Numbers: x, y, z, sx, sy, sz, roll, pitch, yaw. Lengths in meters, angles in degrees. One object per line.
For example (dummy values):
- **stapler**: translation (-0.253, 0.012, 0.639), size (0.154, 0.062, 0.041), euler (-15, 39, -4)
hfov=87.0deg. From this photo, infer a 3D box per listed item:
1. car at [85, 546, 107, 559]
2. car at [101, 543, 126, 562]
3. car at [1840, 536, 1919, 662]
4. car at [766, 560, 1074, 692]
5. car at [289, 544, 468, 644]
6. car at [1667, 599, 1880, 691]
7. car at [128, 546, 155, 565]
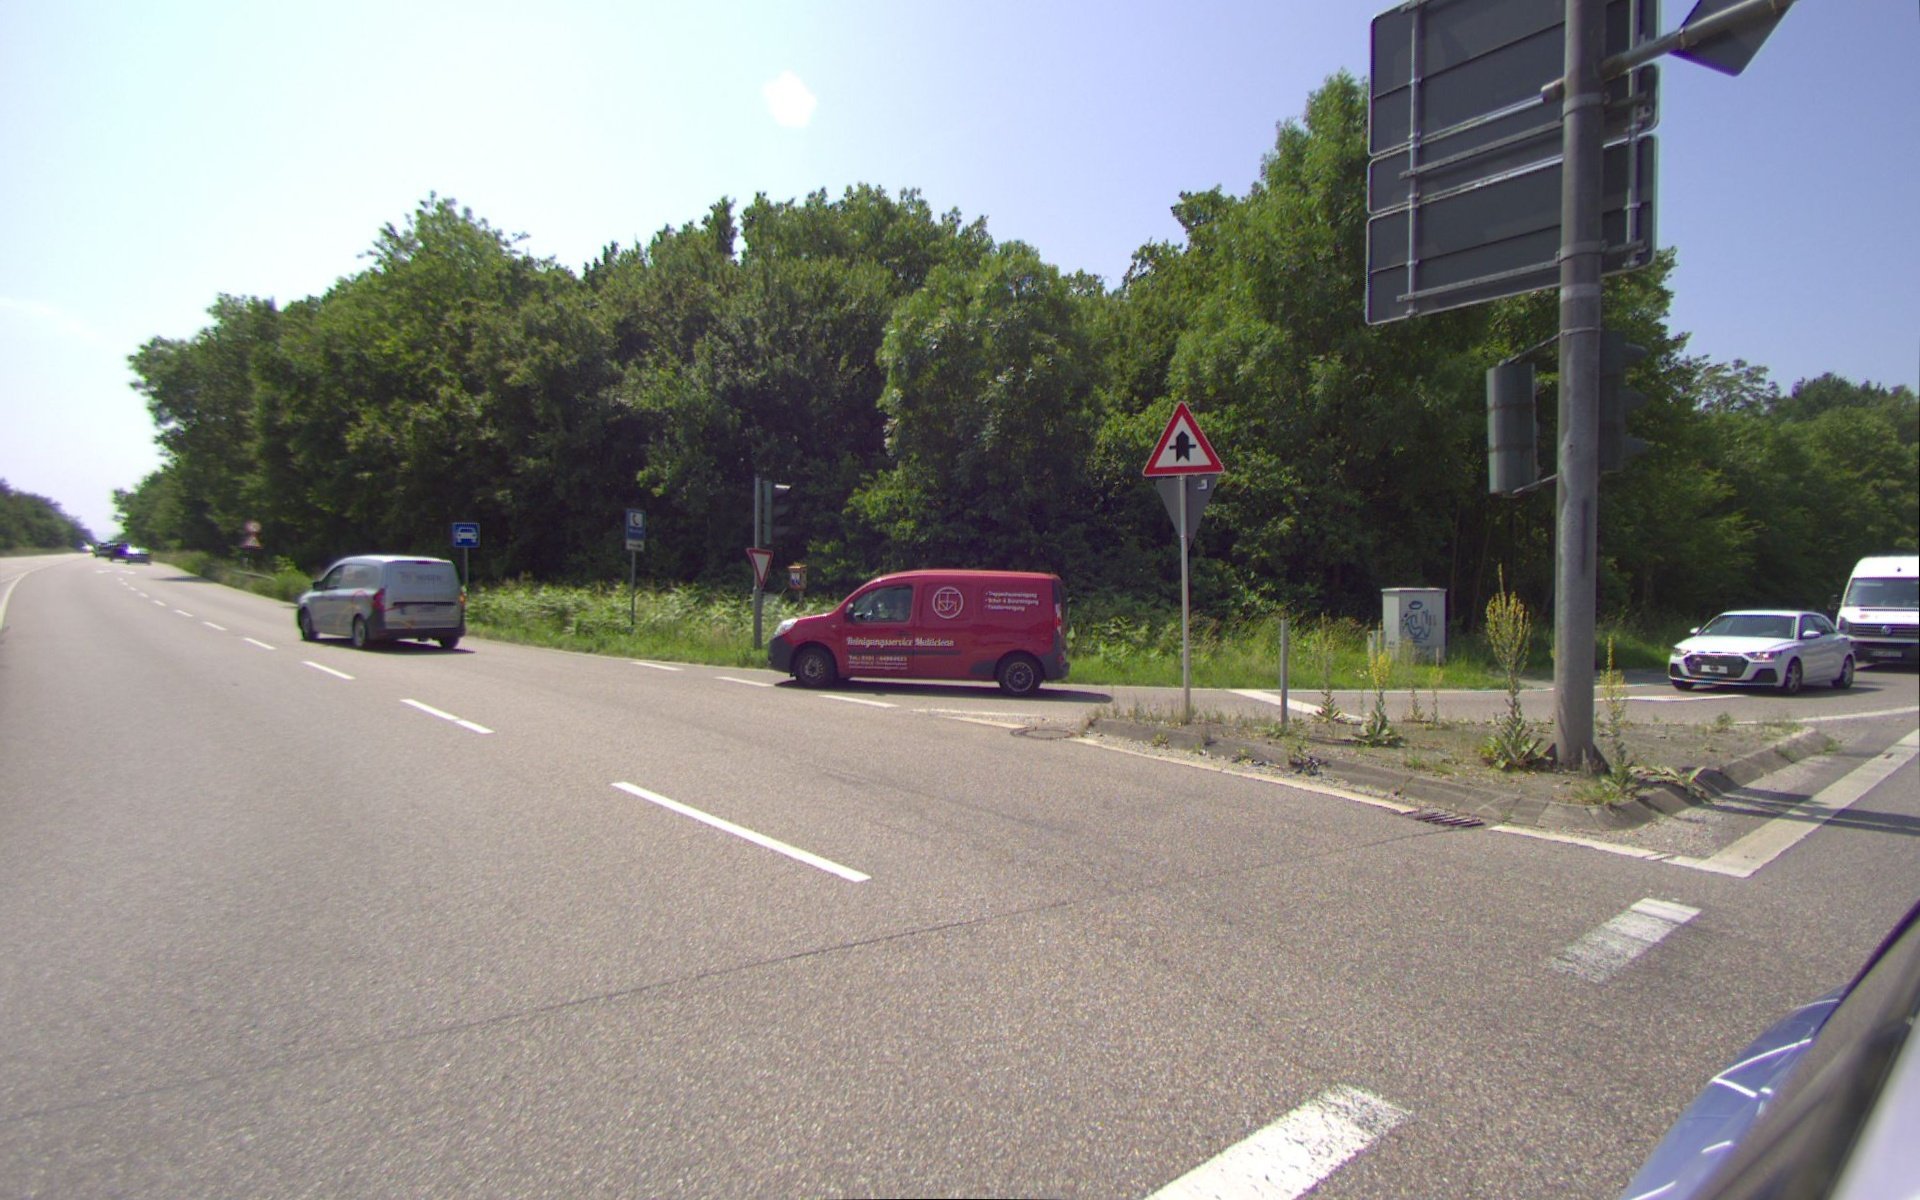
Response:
- **car**: translation (-101.979, -5.589, 119.510), size (1.814, 1.517, 4.458), euler (0, 1, -39)
- **car**: translation (-81.303, -4.550, 97.220), size (1.814, 1.773, 4.458), euler (0, 1, -39)
- **car**: translation (22.553, -0.020, 23.710), size (5.952, 2.679, 1.973), euler (0, -1, -40)
- **car**: translation (-0.513, 0.356, 15.315), size (4.420, 1.846, 1.793), euler (0, -1, 8)
- **car**: translation (-11.667, -0.098, 20.210), size (4.091, 1.796, 1.737), euler (0, -1, 39)
- **car**: translation (14.443, 0.734, 17.930), size (3.921, 1.454, 1.696), euler (0, -1, -32)
- **car**: translation (-70.068, -3.773, 86.655), size (1.814, 1.517, 4.458), euler (0, 1, -39)
